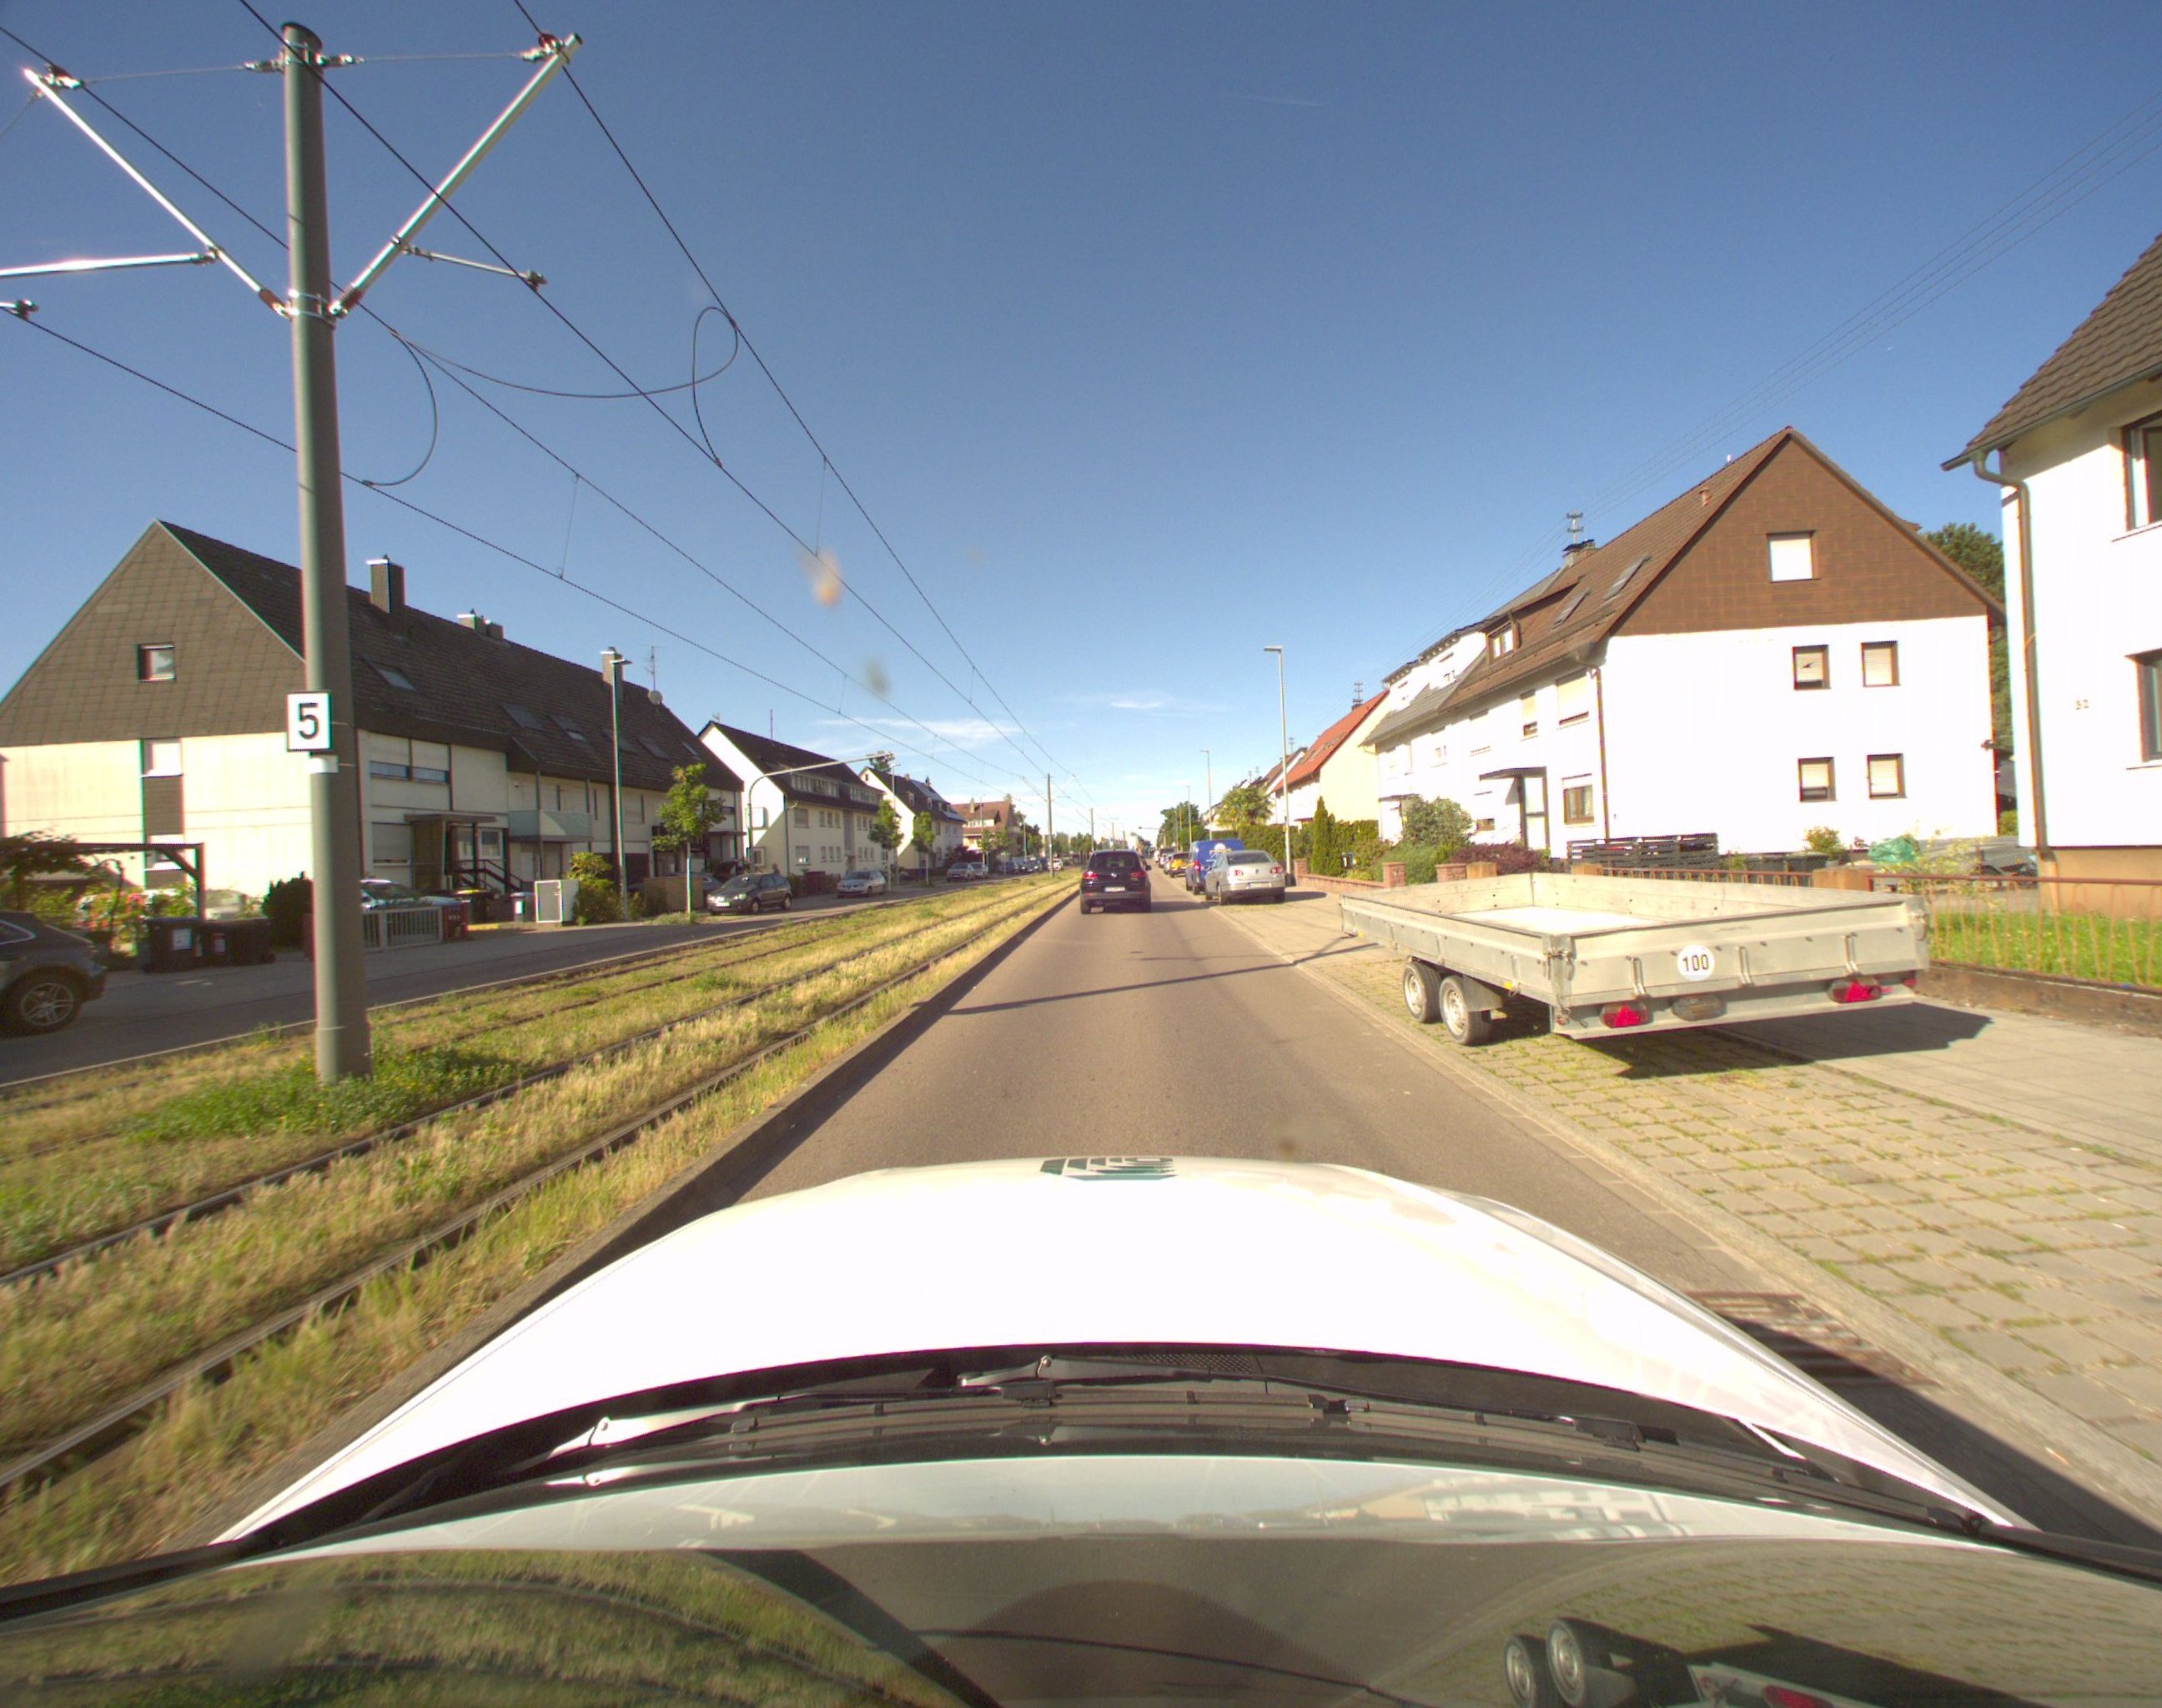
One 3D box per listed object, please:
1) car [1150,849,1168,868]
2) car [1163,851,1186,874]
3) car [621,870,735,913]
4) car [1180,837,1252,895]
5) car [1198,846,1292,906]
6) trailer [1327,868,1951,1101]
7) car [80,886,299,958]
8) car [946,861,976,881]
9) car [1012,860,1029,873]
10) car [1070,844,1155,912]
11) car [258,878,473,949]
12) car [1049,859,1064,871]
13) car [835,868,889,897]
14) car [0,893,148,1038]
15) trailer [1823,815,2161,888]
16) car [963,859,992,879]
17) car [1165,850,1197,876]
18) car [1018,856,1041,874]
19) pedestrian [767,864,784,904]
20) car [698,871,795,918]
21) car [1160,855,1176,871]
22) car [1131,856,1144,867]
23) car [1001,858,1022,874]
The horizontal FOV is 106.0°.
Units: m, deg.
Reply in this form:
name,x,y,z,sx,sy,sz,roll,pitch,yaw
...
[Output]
name,x,y,z,sx,sy,sz,roll,pitch,yaw
car,8.467,0.476,88.532,1.762,1.844,3.868,-3,0,4
car,6.766,0.583,59.205,1.445,1.552,3.833,-3,0,4
car,-17.021,1.563,34.539,3.895,1.568,1.732,-3,-1,-5
car,4.831,0.409,29.849,1.985,1.862,4.920,-3,0,3
car,4.596,0.579,23.475,1.780,1.441,4.459,-4,0,1
trailer,3.767,0.767,6.727,2.196,1.094,4.373,-4,0,2
car,-24.417,1.829,22.401,4.138,1.654,1.859,-3,0,5
car,-9.636,1.361,65.682,1.652,1.496,3.582,-3,0,3
car,-6.894,1.378,93.709,1.509,1.361,3.591,-3,0,2
car,0.759,0.617,22.342,1.809,1.671,4.250,-1,-1,-5
car,-19.397,1.575,22.215,4.154,1.616,1.758,-3,0,-2
car,-3.028,1.383,101.352,1.459,1.454,3.289,-3,-1,3
car,-11.392,1.487,42.573,1.612,1.409,3.720,-3,-2,3
car,-13.331,1.356,8.414,1.797,1.597,4.810,-3,0,-1
trailer,16.599,-0.047,14.652,4.783,1.028,1.646,-3,0,5
car,-9.111,1.300,71.831,1.796,1.632,4.003,-3,0,3
car,6.333,0.574,51.886,1.638,1.534,3.867,-3,-1,3
car,-5.377,1.172,85.922,1.866,1.655,4.002,-3,-2,3
pedestrian,-13.578,1.319,36.191,0.466,1.746,0.536,-3,0,2
car,-12.147,1.424,29.835,1.610,1.453,3.725,-3,0,7
car,8.690,0.852,81.353,1.435,1.477,3.868,-3,0,4
car,7.659,0.951,111.147,1.566,1.391,3.616,-3,0,2
car,-7.498,1.338,87.828,1.653,1.581,4.002,-3,-2,3
